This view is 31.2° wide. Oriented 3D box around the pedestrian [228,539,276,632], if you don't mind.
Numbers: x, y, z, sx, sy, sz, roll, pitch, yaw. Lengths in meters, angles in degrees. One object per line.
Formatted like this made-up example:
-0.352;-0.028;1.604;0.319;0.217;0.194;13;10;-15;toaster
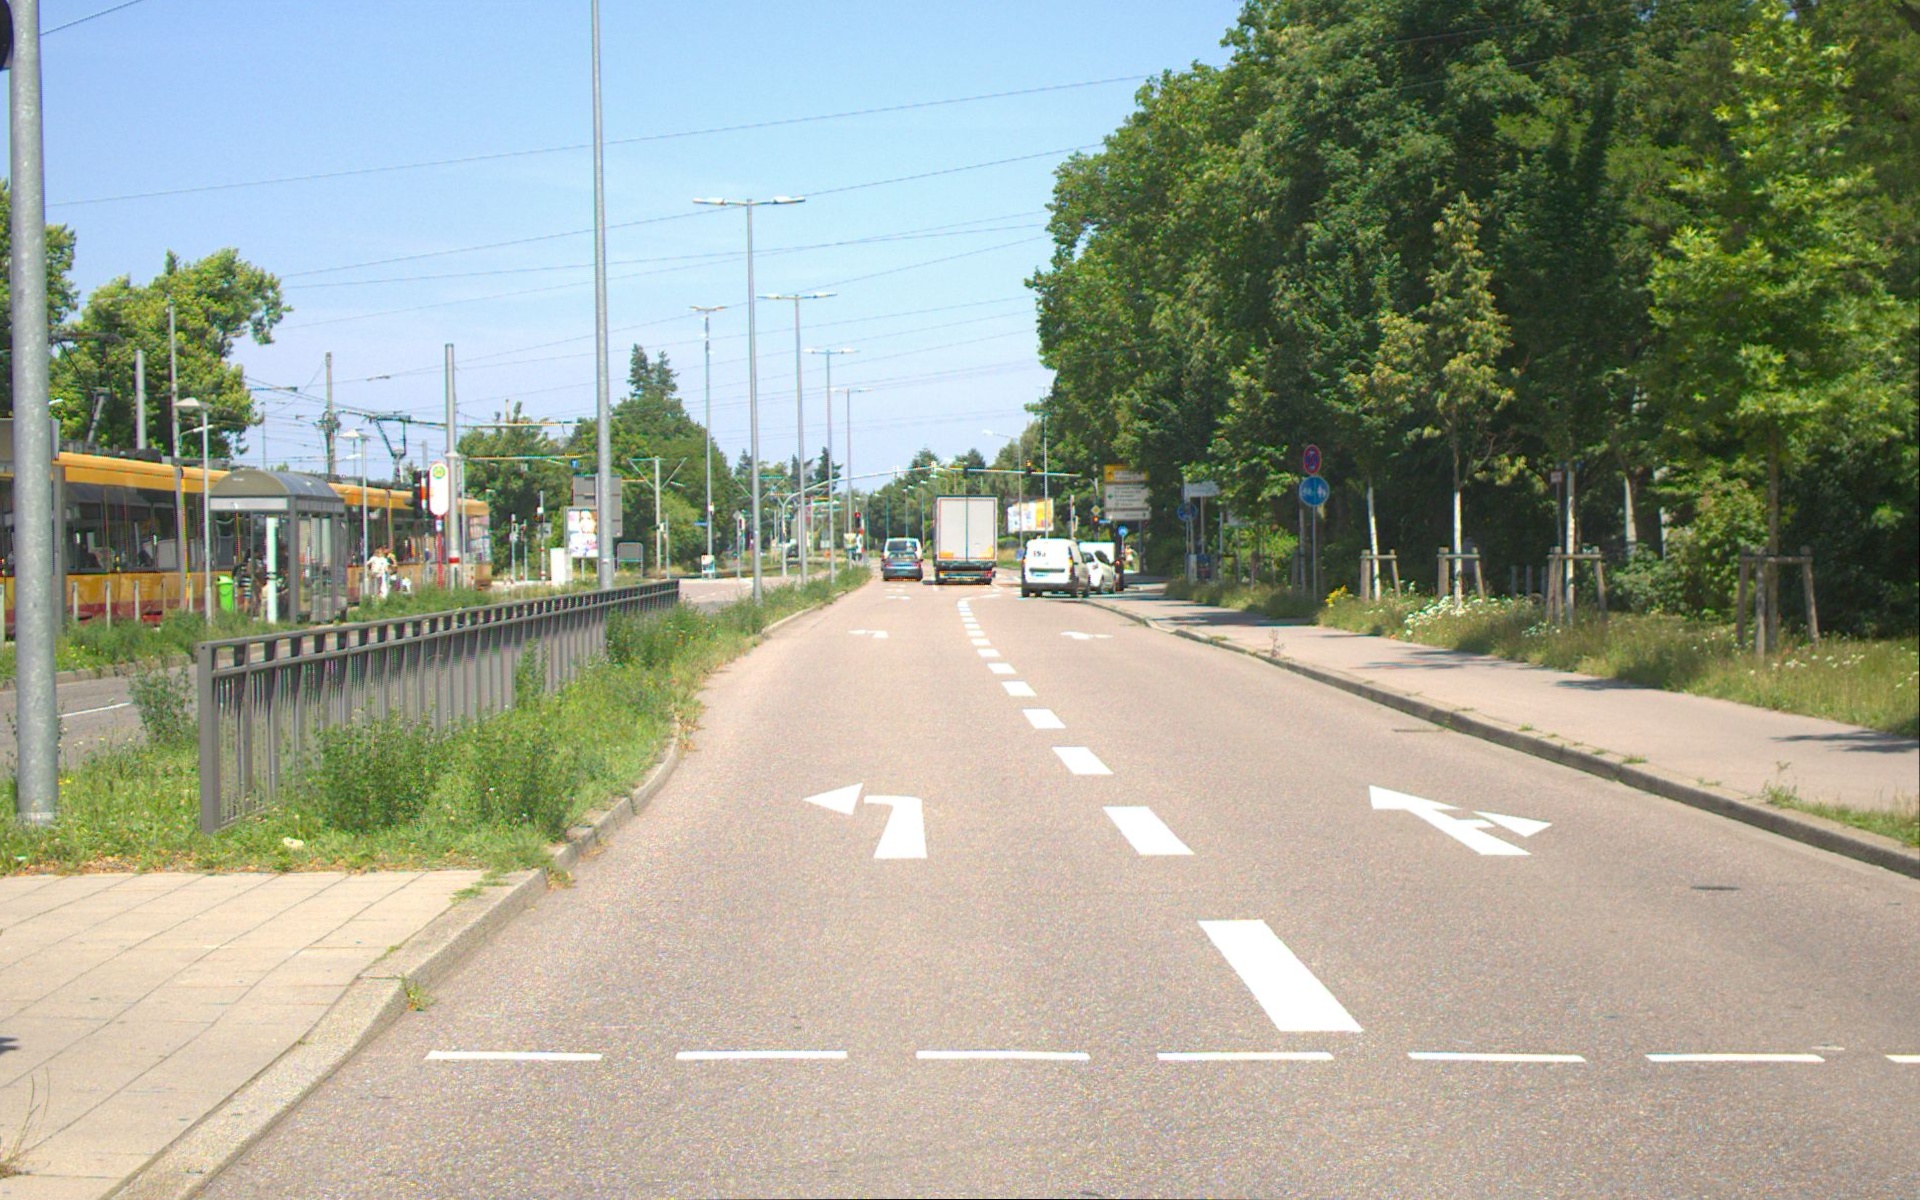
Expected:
-14.268;-0.303;69.301;0.785;1.862;0.817;0;1;-1;pedestrian

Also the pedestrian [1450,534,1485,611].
9.471;-0.517;64.160;0.604;1.433;0.556;0;1;6;pedestrian

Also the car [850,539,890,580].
-4.574;-2.074;175.165;1.993;2.007;4.000;0;1;-1;car

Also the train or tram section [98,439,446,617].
-17.149;-1.830;89.915;2.931;3.776;33.090;0;1;-1;train or tram section

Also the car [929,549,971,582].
-0.452;-1.556;153.617;1.811;1.459;4.000;0;1;-1;car

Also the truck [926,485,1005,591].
0.195;-2.632;146.110;3.205;4.344;6.561;0;1;-1;truck

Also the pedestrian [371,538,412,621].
-13.829;-0.508;83.653;0.815;2.007;0.938;0;1;-1;pedestrian

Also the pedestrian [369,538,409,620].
-14.107;-0.525;84.947;0.815;2.007;0.938;0;1;-1;pedestrian

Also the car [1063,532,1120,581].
4.532;-1.515;118.789;1.779;1.663;4.000;0;1;-1;car

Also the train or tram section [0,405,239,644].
-16.572;-1.251;58.446;2.957;3.736;30.035;0;1;-1;train or tram section

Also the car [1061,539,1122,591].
4.283;-1.151;112.446;1.779;1.663;4.000;0;1;-1;car

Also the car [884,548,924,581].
-2.576;-1.650;157.884;1.811;1.459;4.000;0;1;-1;car

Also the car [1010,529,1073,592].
2.495;-1.222;105.515;1.779;1.897;4.000;0;1;-1;car
